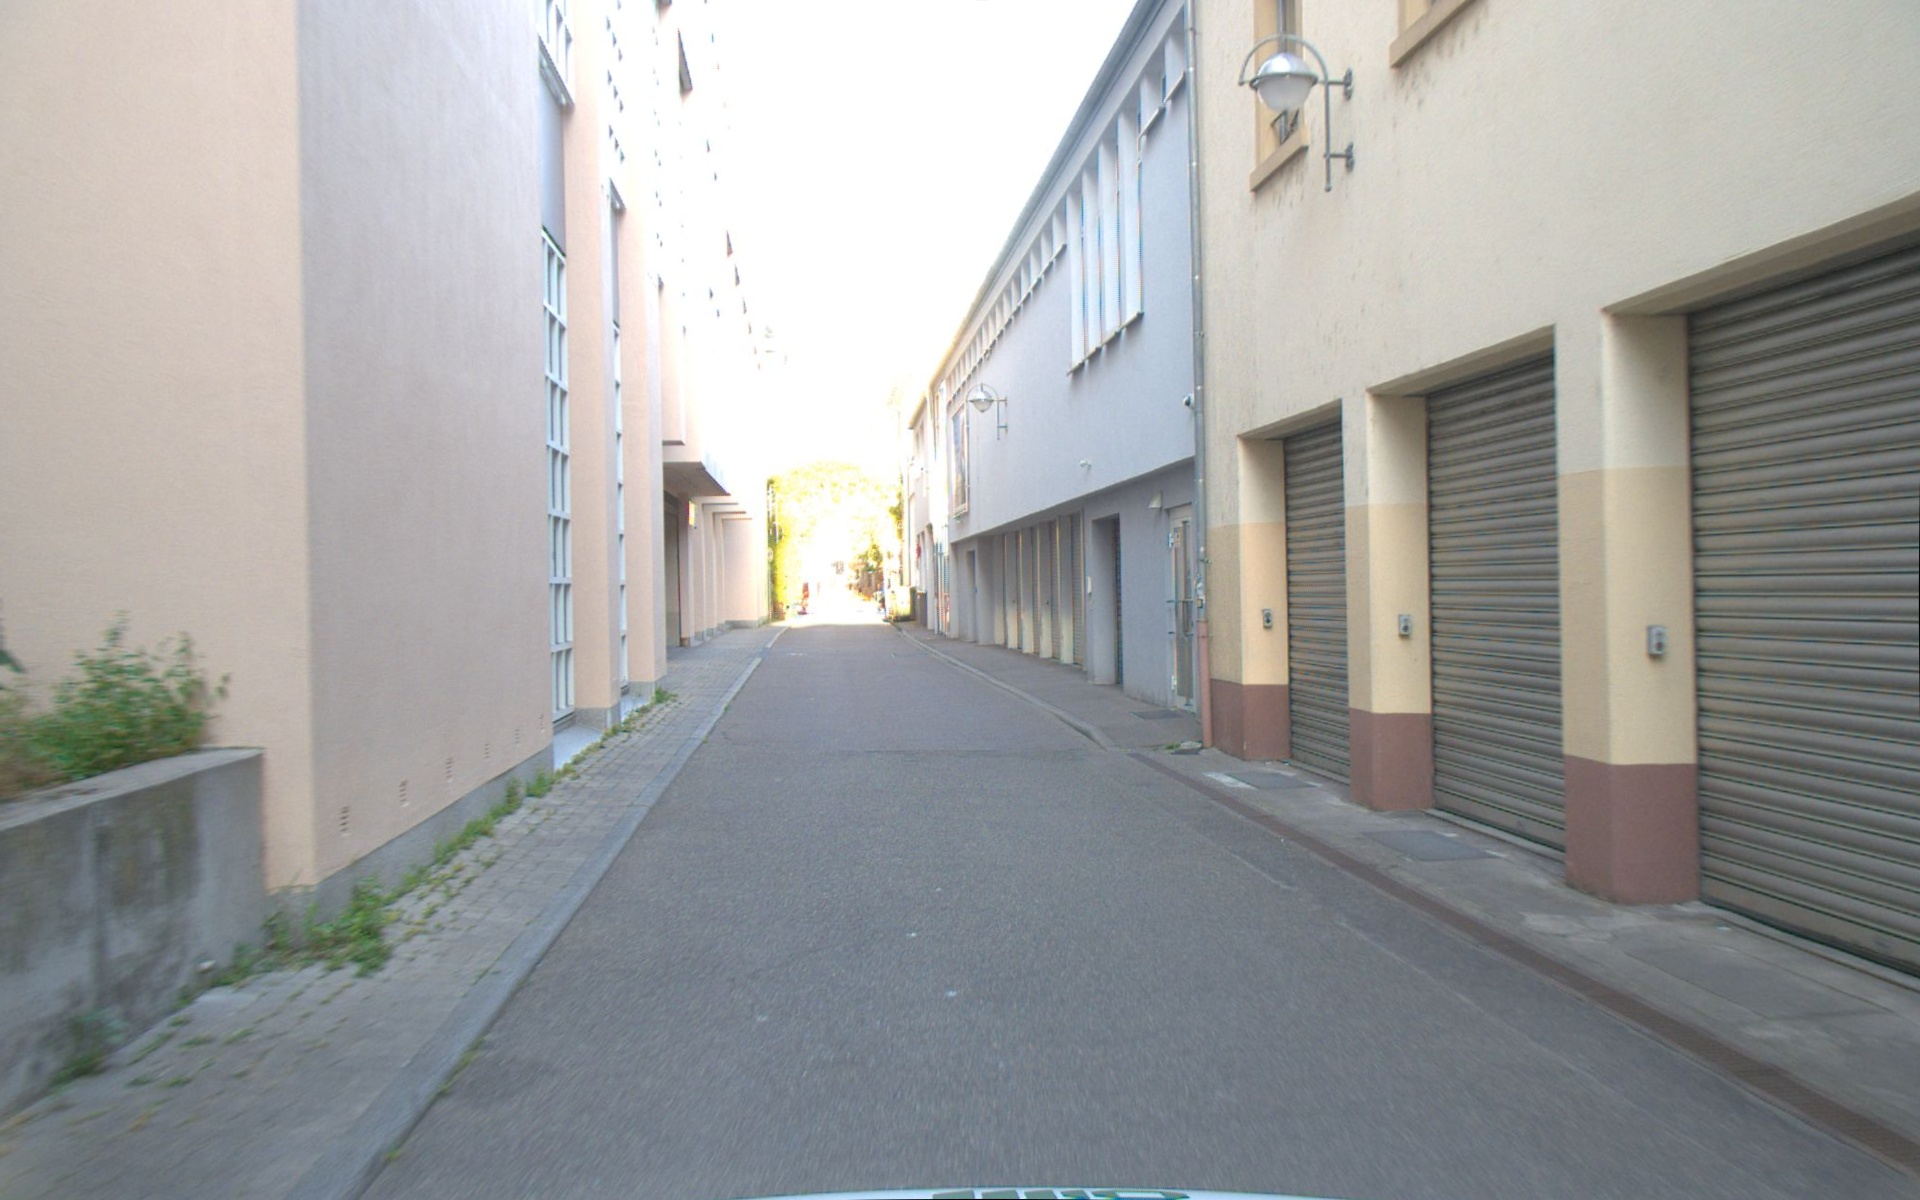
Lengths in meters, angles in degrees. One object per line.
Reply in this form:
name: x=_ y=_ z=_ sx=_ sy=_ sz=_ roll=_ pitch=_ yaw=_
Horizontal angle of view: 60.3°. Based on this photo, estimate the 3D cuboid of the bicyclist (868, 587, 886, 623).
bicyclist: x=-4.303 y=0.262 z=85.747 sx=0.863 sy=1.816 sz=0.734 roll=0 pitch=0 yaw=-10

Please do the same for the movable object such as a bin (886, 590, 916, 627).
movable object such as a bin: x=-2.358 y=0.346 z=66.238 sx=1.044 sy=1.390 sz=1.340 roll=-3 pitch=0 yaw=-7

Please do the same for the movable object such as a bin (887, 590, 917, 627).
movable object such as a bin: x=-2.275 y=0.342 z=64.836 sx=0.920 sy=1.390 sz=1.339 roll=-3 pitch=0 yaw=-11

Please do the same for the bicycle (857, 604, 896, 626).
bicycle: x=-4.307 y=0.787 z=85.747 sx=1.948 sy=1.132 sz=0.734 roll=0 pitch=0 yaw=-10
